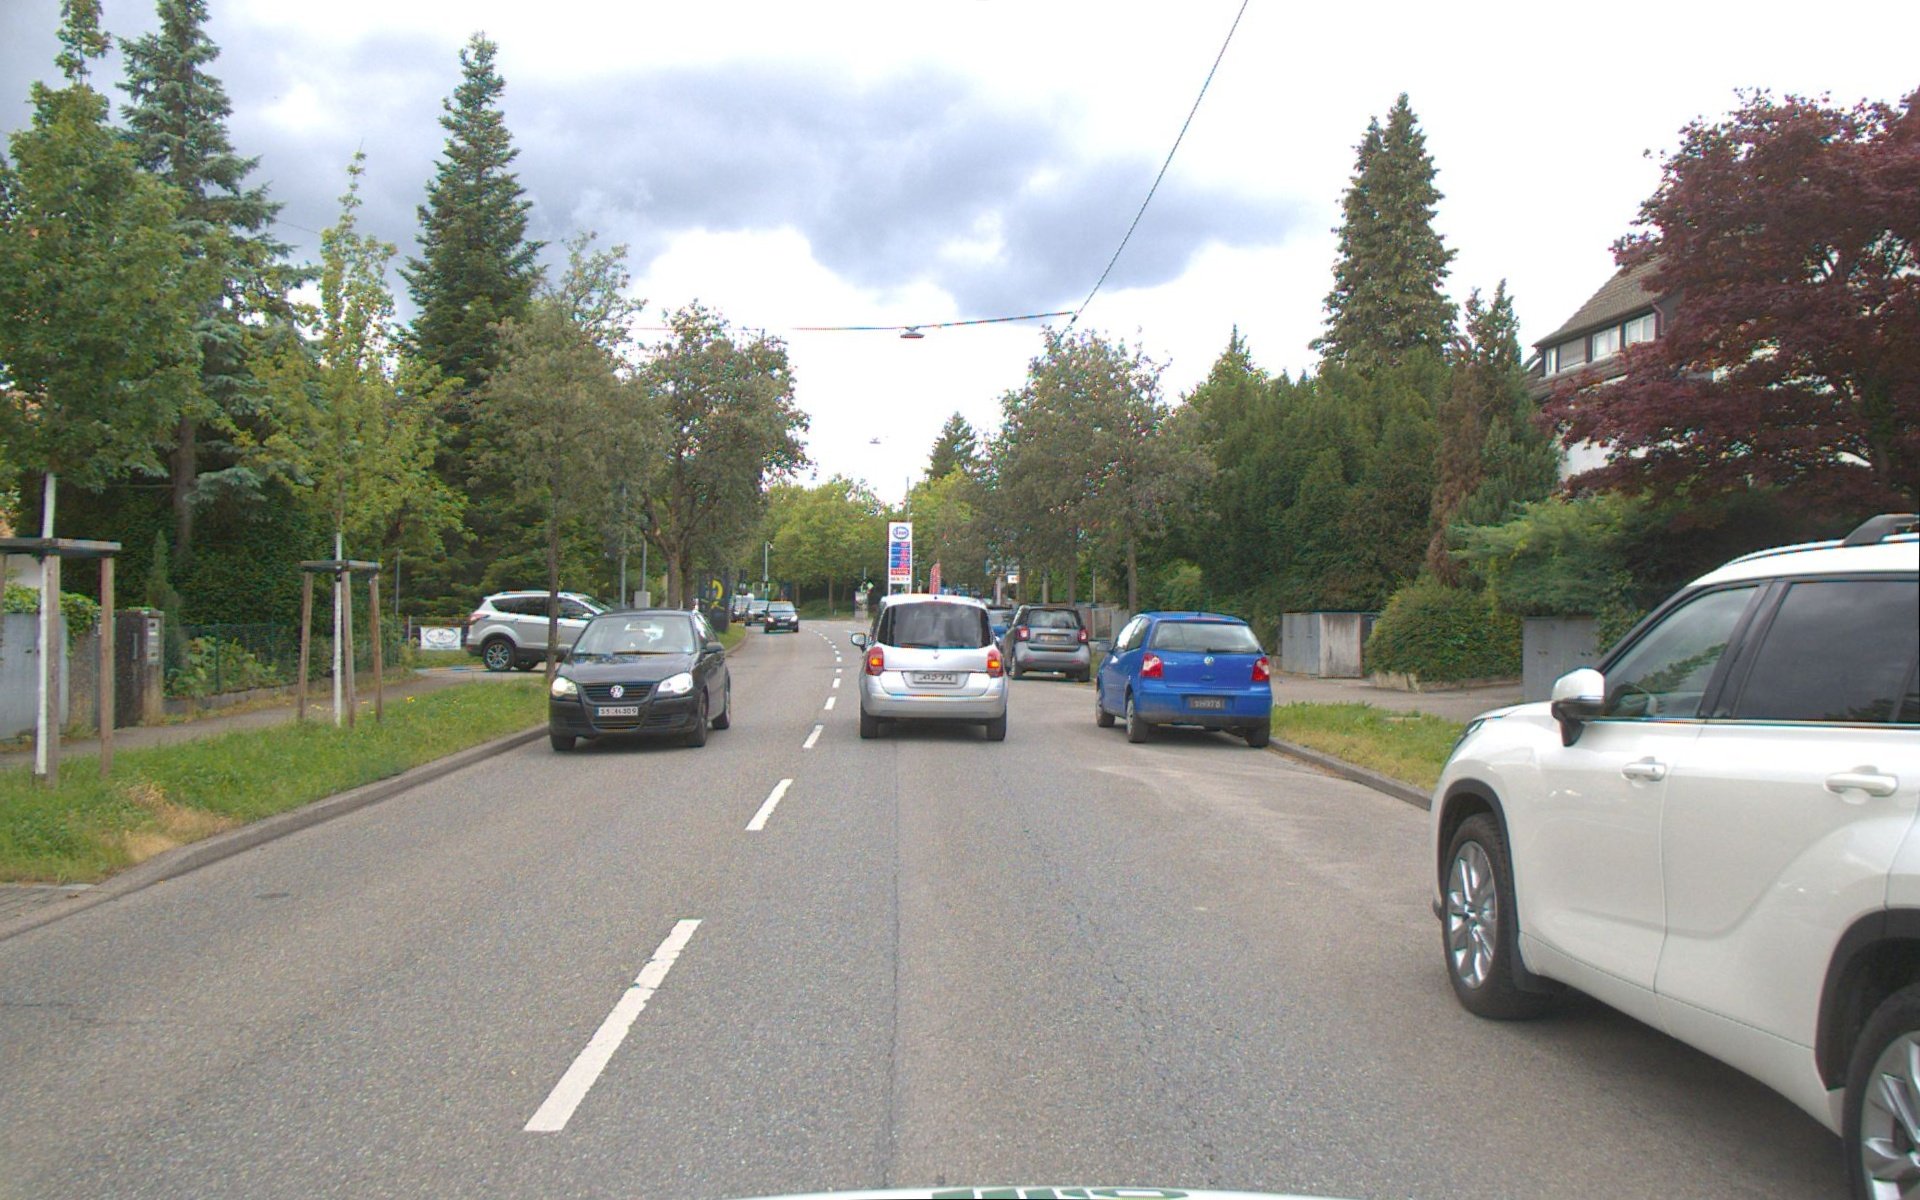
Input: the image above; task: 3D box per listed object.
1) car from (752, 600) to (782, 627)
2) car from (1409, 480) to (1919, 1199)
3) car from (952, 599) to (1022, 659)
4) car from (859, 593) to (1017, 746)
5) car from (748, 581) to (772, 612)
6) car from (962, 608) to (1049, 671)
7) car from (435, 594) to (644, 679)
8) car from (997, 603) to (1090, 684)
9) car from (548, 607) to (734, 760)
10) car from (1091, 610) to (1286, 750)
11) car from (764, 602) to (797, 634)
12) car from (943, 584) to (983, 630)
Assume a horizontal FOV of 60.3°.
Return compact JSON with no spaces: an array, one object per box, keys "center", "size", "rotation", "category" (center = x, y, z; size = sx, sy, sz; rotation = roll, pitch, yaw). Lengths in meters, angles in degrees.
[{"center":[-11.927,0.826,102.405],"size":[1.759,1.583,3.667],"rotation":[-2,0,-6],"category":"car"},{"center":[2.933,0.667,4.748],"size":[1.763,1.809,4.702],"rotation":[2,0,-3],"category":"car"},{"center":[0.726,0.792,46.449],"size":[1.661,1.598,3.952],"rotation":[1,0,-3],"category":"car"},{"center":[-0.280,0.747,19.287],"size":[1.645,1.587,3.510],"rotation":[1,0,-2],"category":"car"},{"center":[-16.146,-0.286,133.593],"size":[1.897,2.450,3.994],"rotation":[1,0,-7],"category":"car"},{"center":[1.074,0.929,40.860],"size":[1.664,1.458,4.335],"rotation":[1,0,-5],"category":"car"},{"center":[-9.049,0.770,35.793],"size":[4.001,1.736,1.748],"rotation":[1,0,3],"category":"car"},{"center":[1.734,0.880,35.524],"size":[1.661,1.585,3.954],"rotation":[2,0,-2],"category":"car"},{"center":[-3.454,0.845,18.414],"size":[1.543,1.498,3.468],"rotation":[-1,0,-3],"category":"car"},{"center":[2.652,0.887,19.977],"size":[1.594,1.477,3.873],"rotation":[2,0,-3],"category":"car"},{"center":[-8.660,0.855,80.123],"size":[1.515,1.496,3.737],"rotation":[-1,-1,-6],"category":"car"},{"center":[0.171,0.499,112.166],"size":[2.237,2.962,5.273],"rotation":[2,0,-5],"category":"car"}]
